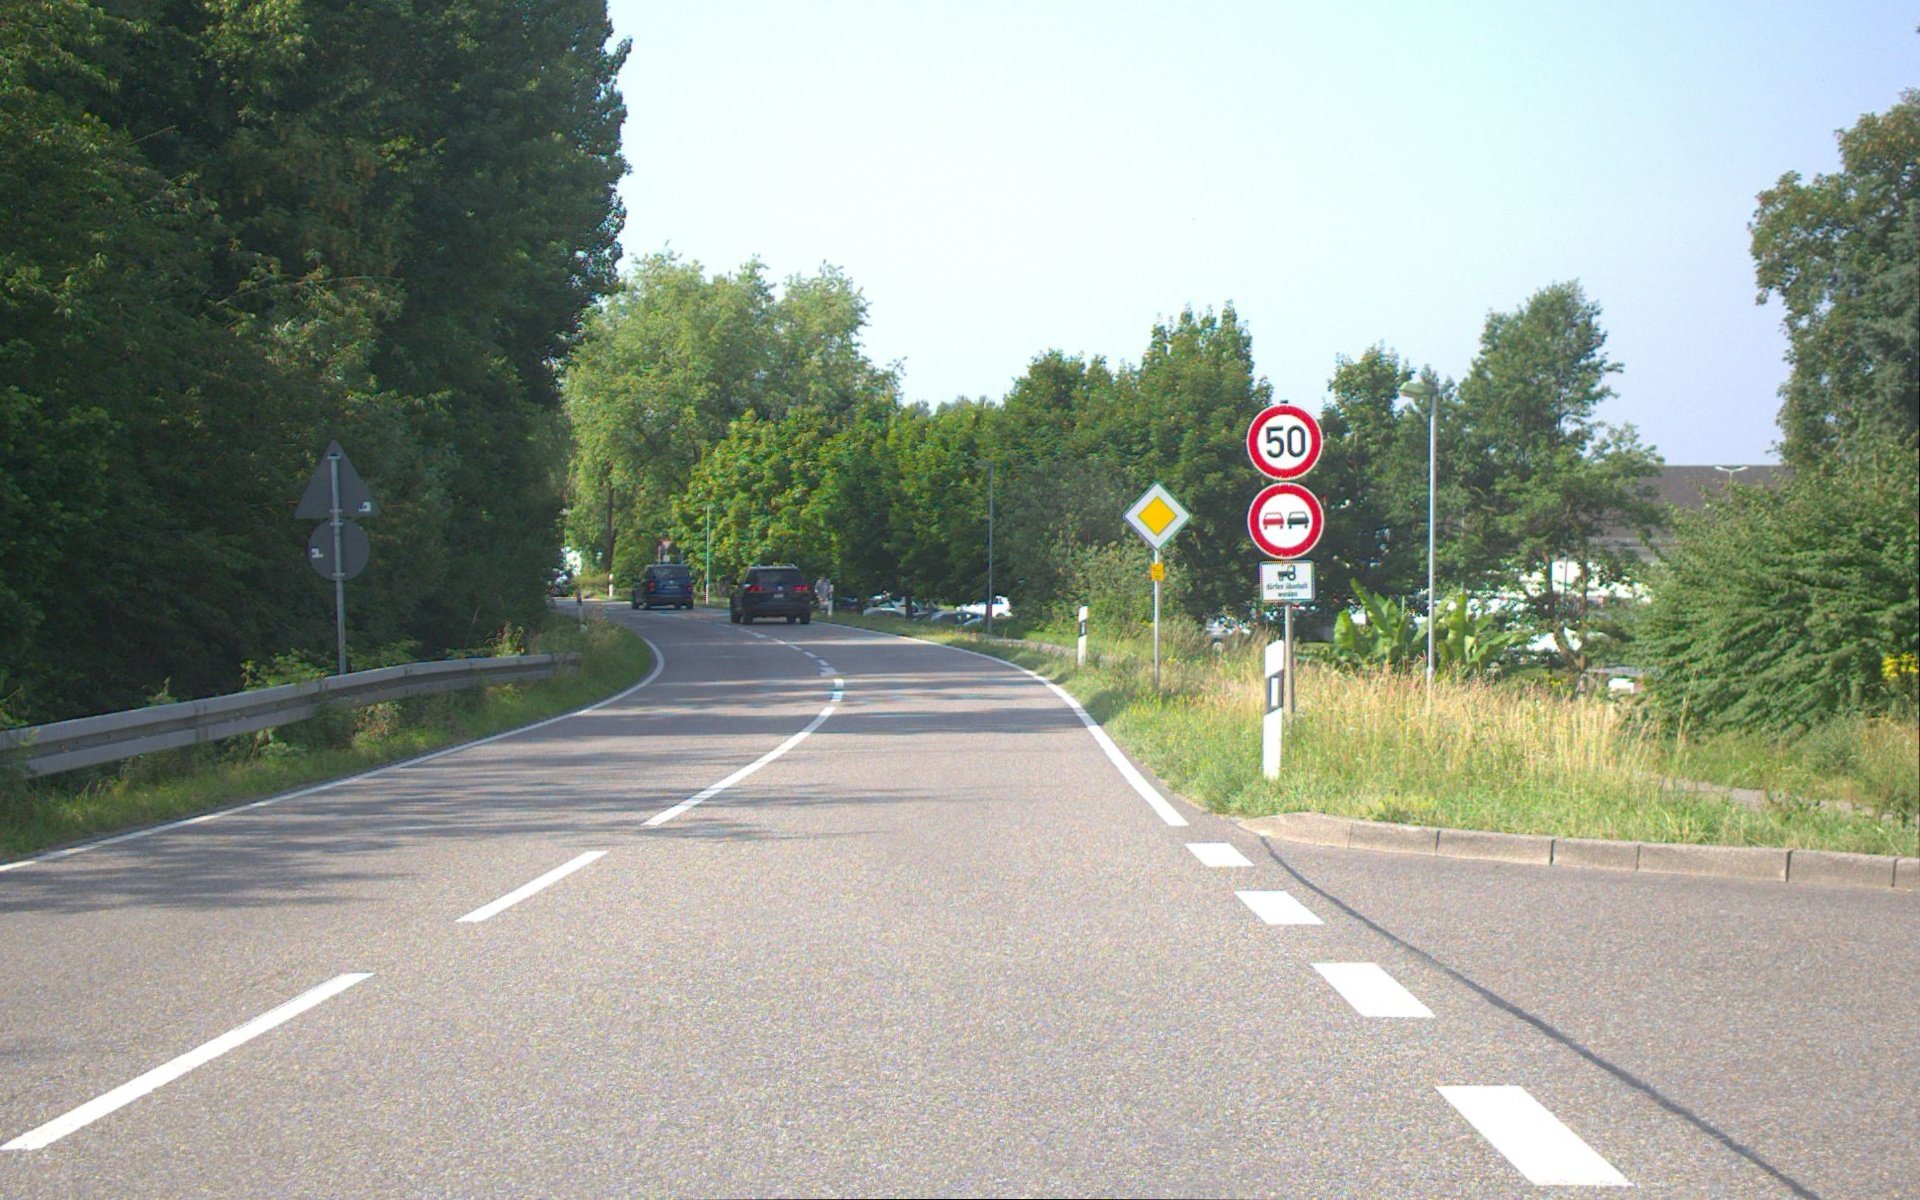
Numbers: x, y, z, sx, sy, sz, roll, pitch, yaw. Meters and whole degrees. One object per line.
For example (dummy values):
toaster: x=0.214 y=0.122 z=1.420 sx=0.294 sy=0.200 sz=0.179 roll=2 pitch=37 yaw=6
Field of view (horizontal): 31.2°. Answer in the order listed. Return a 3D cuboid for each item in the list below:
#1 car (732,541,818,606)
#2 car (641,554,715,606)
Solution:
car: x=-5.338 y=-0.771 z=98.991 sx=1.924 sy=1.765 sz=4.001 roll=1 pitch=1 yaw=-11
car: x=-10.159 y=-0.728 z=123.647 sx=2.003 sy=1.765 sz=4.001 roll=1 pitch=1 yaw=-14
